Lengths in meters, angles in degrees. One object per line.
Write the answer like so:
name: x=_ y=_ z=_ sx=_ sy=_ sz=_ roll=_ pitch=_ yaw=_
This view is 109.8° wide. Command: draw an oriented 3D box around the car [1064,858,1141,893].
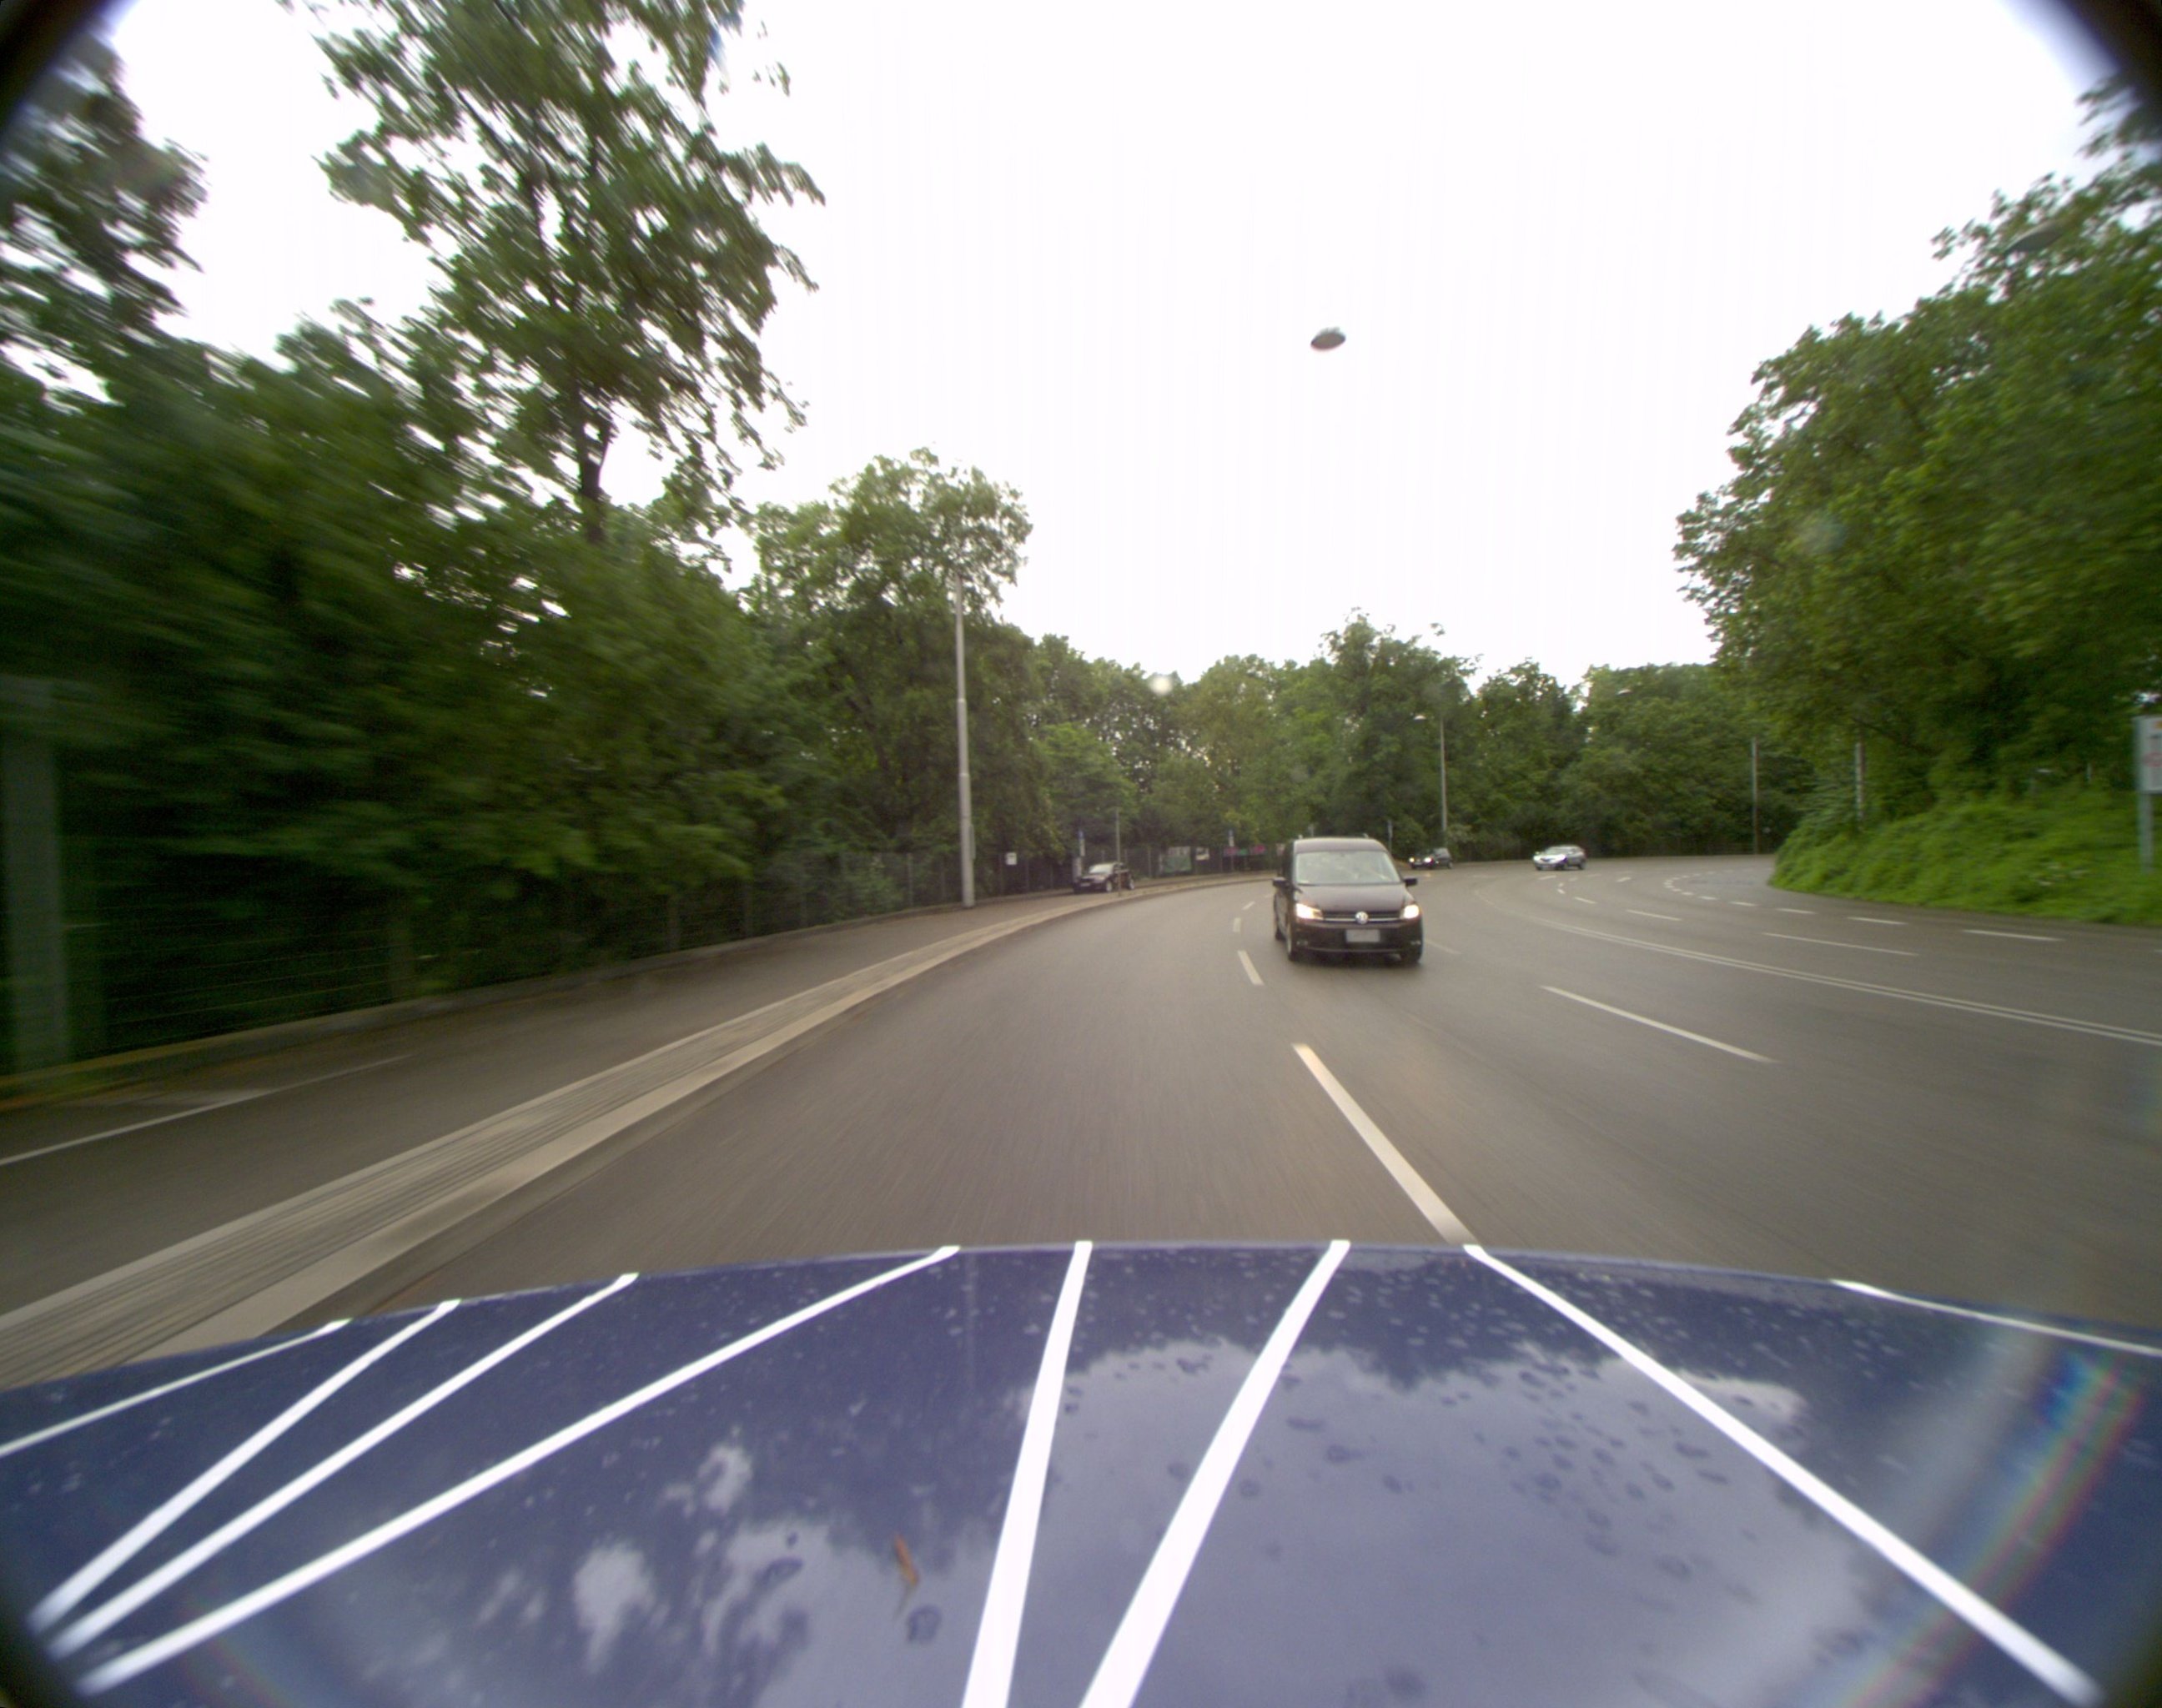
car: x=1.110 y=1.012 z=36.256 sx=1.874 sy=1.368 sz=4.182 roll=-6 pitch=-2 yaw=28

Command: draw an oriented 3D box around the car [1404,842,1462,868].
car: x=25.360 y=0.047 z=54.744 sx=4.007 sy=1.735 sz=1.995 roll=-2 pitch=1 yaw=-34

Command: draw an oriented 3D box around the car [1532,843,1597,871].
car: x=32.977 y=0.194 z=51.803 sx=4.662 sy=1.735 sz=1.995 roll=-2 pitch=1 yaw=-33

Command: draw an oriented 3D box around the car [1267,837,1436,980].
car: x=3.912 y=0.672 z=11.669 sx=1.794 sy=1.789 sz=4.128 roll=-1 pitch=0 yaw=10
